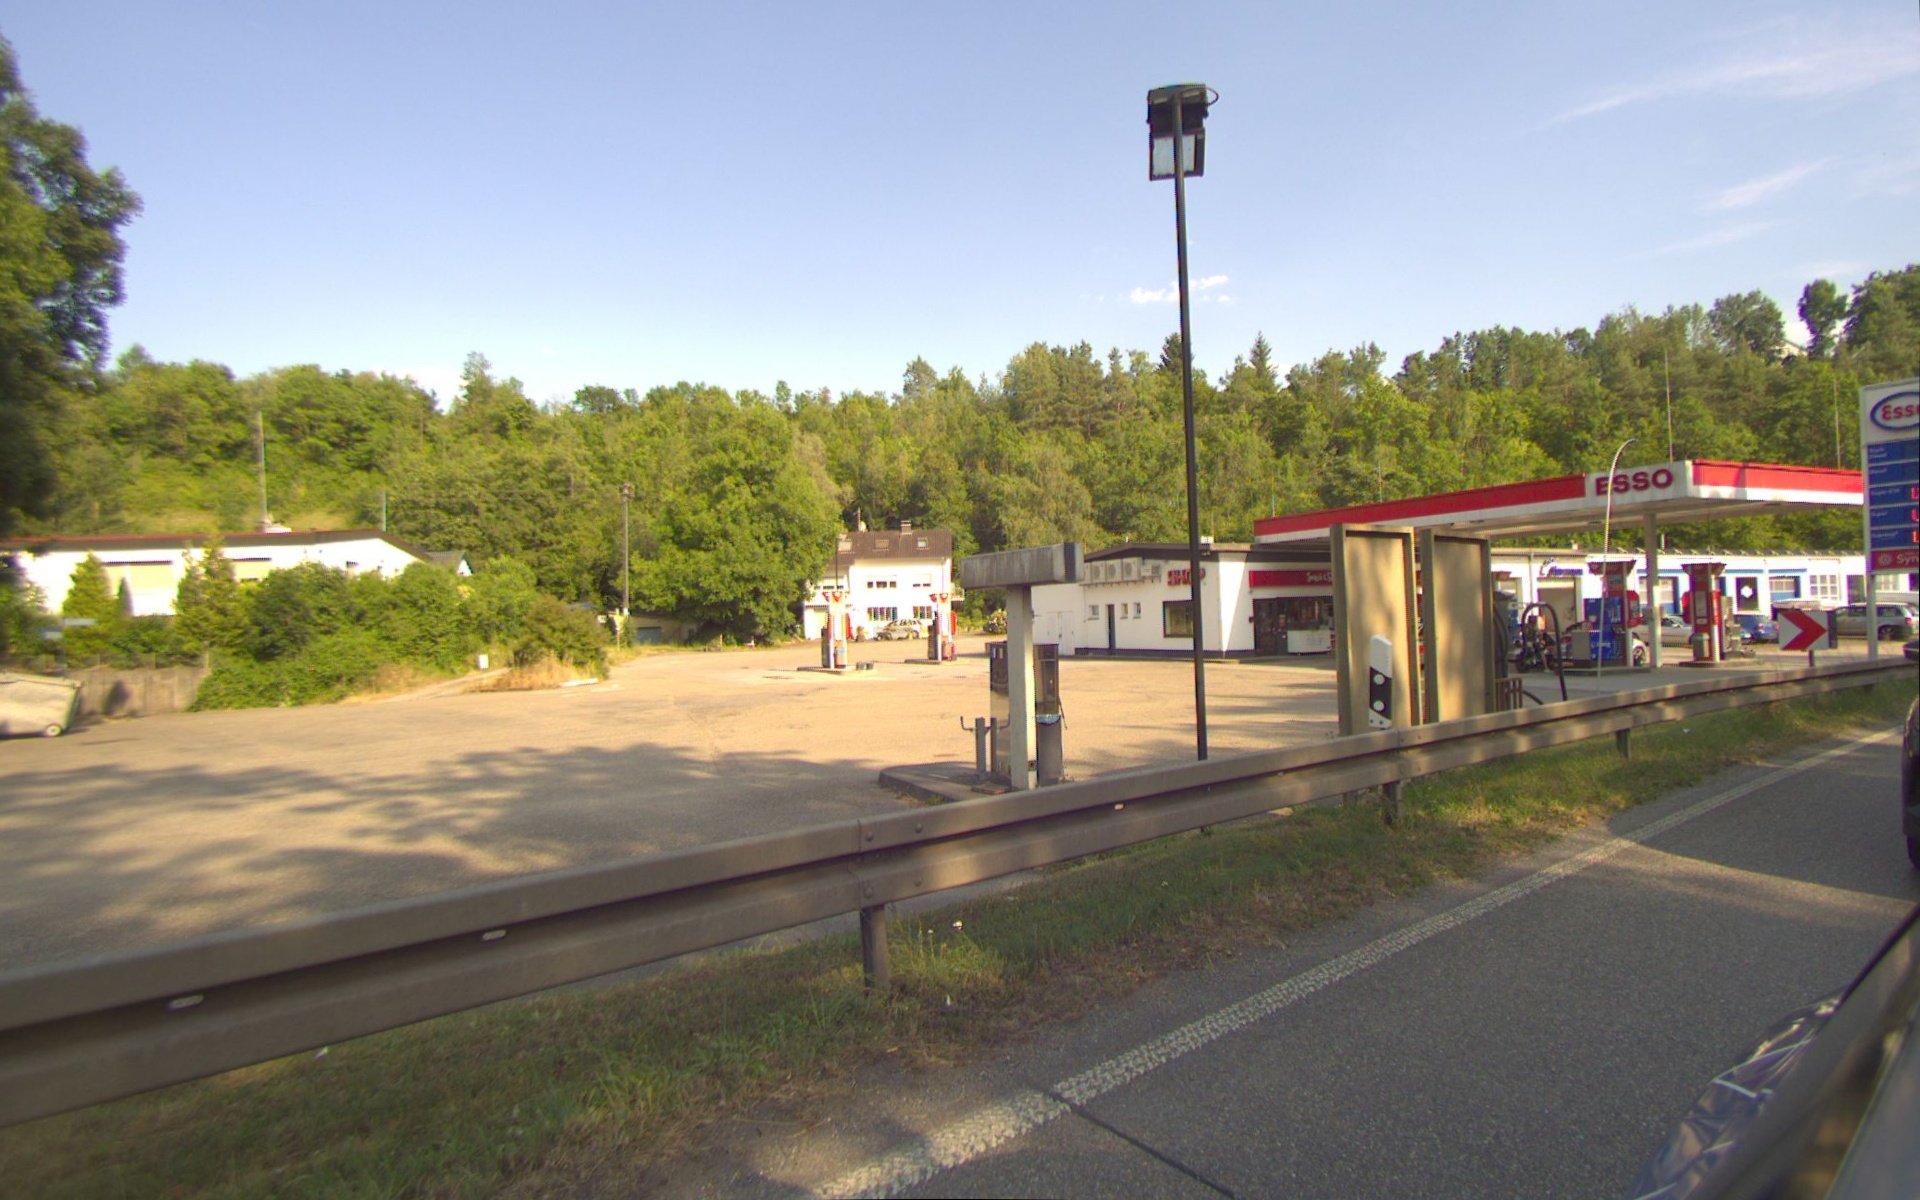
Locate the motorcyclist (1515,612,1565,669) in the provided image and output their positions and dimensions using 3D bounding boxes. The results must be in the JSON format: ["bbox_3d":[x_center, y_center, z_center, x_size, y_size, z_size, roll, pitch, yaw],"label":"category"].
[{"bbox_3d":[16.943,1.168,29.566,0.909,1.625,0.862,0,-1,-27],"label":"motorcyclist"}]

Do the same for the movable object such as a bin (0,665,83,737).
[{"bbox_3d":[-20.394,2.182,21.598,2.512,1.439,1.267,0,-4,-41],"label":"movable object such as a bin"}]

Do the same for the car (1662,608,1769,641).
[{"bbox_3d":[34.935,1.099,46.884,1.656,1.424,3.566,-1,0,-26],"label":"car"}]

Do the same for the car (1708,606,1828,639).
[{"bbox_3d":[38.796,1.027,48.702,1.856,1.365,4.087,-1,2,-26],"label":"car"}]

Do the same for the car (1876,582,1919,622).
[{"bbox_3d":[56.974,0.136,58.546,2.248,2.302,5.500,-1,1,-26],"label":"car"}]

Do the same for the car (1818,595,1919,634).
[{"bbox_3d":[46.266,0.680,50.951,1.854,1.750,4.267,-1,2,-29],"label":"car"}]

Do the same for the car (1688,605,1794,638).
[{"bbox_3d":[36.880,0.997,47.873,1.698,1.464,3.560,-1,0,-26],"label":"car"}]

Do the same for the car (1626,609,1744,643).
[{"bbox_3d":[32.696,1.120,45.738,1.741,1.371,3.973,-1,1,-30],"label":"car"}]

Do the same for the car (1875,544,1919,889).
[{"bbox_3d":[6.818,0.552,5.576,4.359,1.661,1.860,0,0,-37],"label":"car"}]

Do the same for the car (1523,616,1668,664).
[{"bbox_3d":[19.944,1.204,31.765,4.299,1.336,1.851,-1,-1,-26],"label":"car"}]

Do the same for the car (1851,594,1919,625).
[{"bbox_3d":[52.818,0.516,56.450,1.856,1.631,4.261,-1,1,-26],"label":"car"}]

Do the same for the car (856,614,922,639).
[{"bbox_3d":[-5.665,2.145,81.486,5.068,1.860,2.701,-1,-1,0],"label":"car"}]

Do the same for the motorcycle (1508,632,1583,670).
[{"bbox_3d":[17.161,1.476,29.660,2.293,1.025,0.765,-1,-1,-27],"label":"motorcycle"}]

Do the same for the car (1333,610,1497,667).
[{"bbox_3d":[14.612,1.177,32.482,5.074,1.649,2.102,-1,-1,-28],"label":"car"}]
